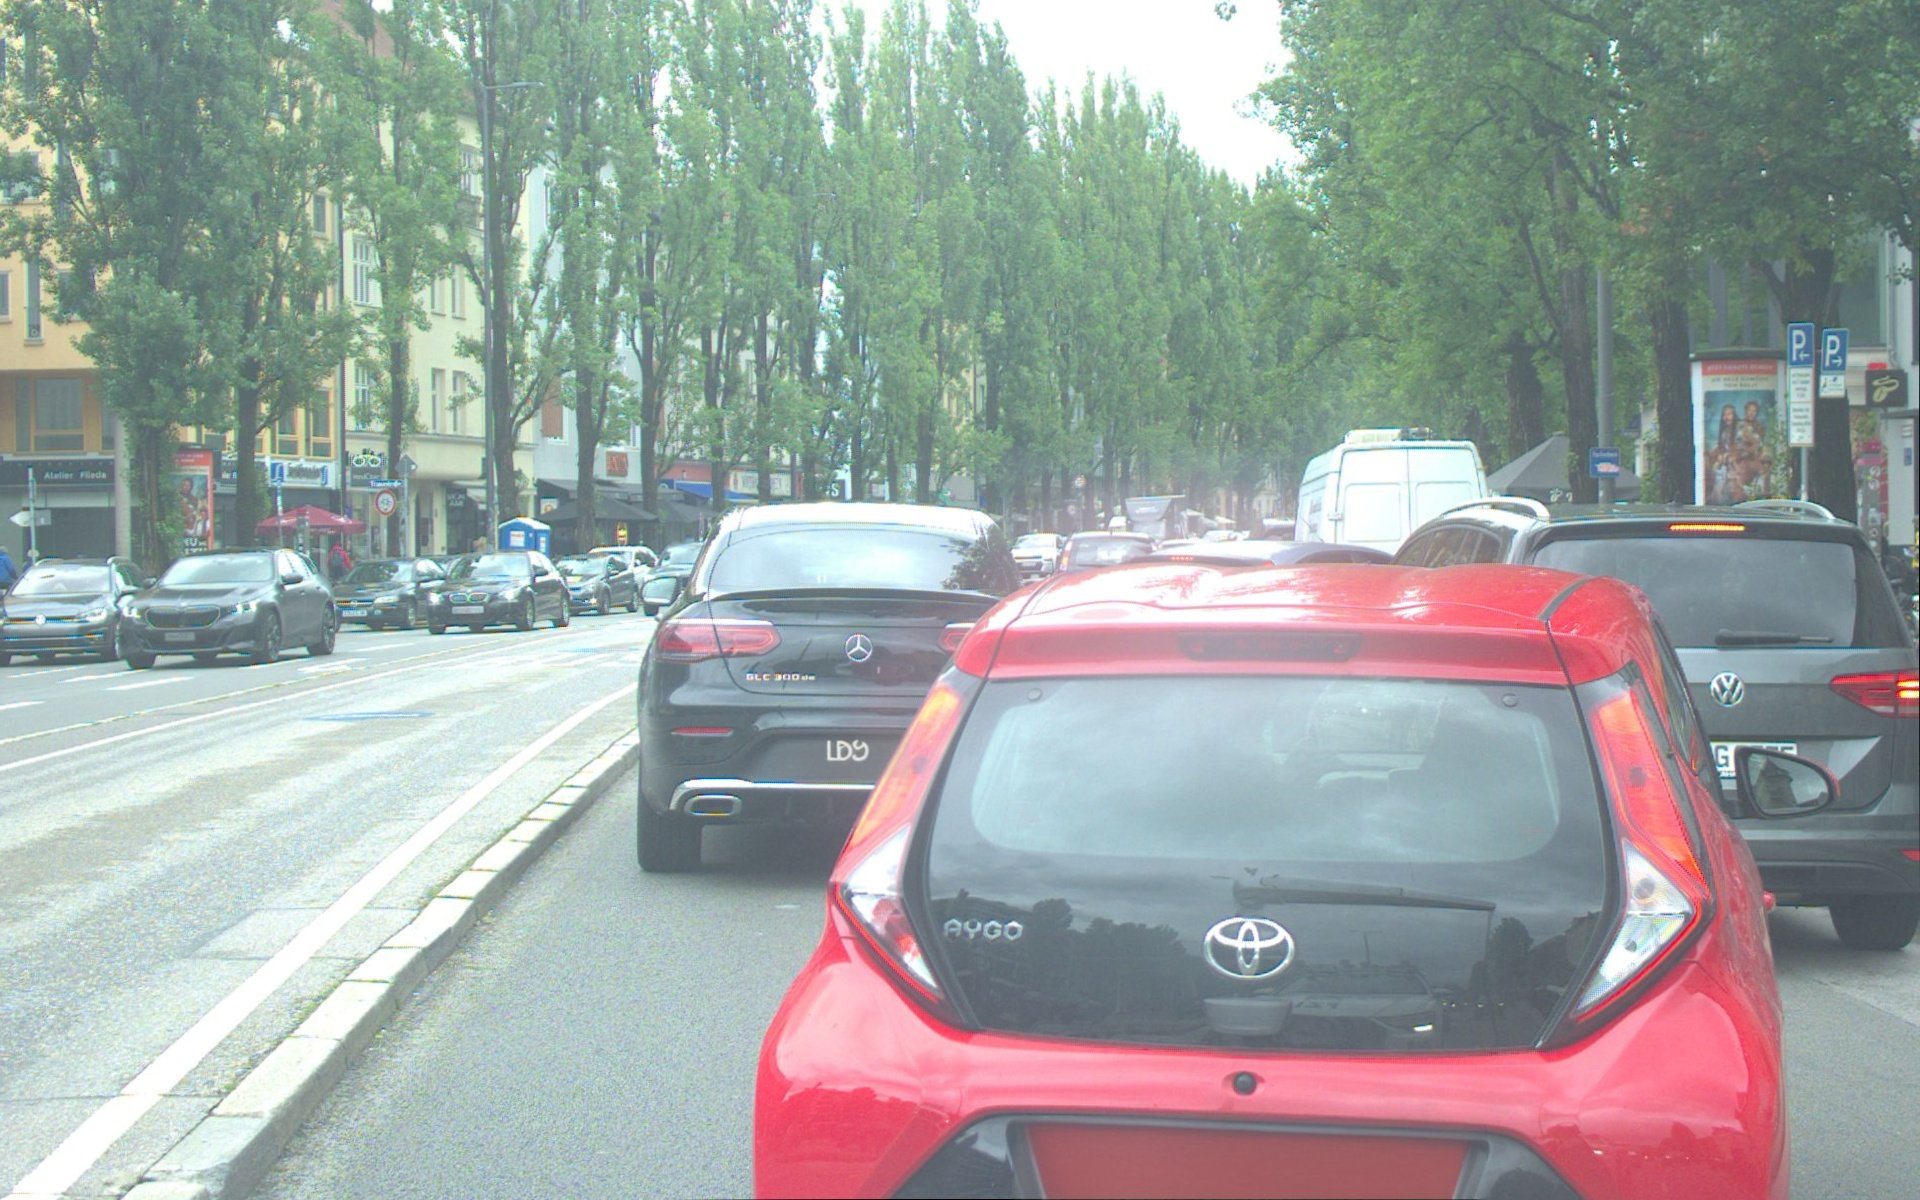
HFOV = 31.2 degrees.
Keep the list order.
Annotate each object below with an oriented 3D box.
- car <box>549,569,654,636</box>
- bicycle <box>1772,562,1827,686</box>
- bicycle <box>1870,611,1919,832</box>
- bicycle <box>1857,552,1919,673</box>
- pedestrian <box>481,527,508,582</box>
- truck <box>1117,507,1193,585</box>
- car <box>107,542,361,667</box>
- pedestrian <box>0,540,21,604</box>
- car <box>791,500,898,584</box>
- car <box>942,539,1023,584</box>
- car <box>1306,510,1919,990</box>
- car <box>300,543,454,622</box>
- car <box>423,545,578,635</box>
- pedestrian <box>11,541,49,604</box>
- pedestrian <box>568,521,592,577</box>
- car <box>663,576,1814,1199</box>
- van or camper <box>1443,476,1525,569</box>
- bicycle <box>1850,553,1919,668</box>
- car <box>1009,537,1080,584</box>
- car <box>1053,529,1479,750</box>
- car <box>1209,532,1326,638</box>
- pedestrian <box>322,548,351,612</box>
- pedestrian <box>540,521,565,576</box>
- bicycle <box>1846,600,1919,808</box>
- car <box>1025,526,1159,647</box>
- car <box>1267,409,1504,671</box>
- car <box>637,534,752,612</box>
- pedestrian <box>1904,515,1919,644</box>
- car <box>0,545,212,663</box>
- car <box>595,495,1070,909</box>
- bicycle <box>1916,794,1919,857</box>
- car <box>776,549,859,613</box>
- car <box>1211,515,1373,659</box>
[{"bbox_3d":[-8.475,0.032,81.601,1.784,1.461,4.000,-1,1,4],"label":"car"},{"bbox_3d":[8.243,0.217,33.731,0.478,1.156,1.824,0,1,15],"label":"bicycle"},{"bbox_3d":[5.358,0.641,16.474,1.800,1.050,0.545,5,3,37],"label":"bicycle"},{"bbox_3d":[9.324,0.111,33.955,0.477,1.156,1.633,0,1,-1],"label":"bicycle"},{"bbox_3d":[-14.539,-1.431,107.355,0.638,1.694,0.647,-1,1,11],"label":"pedestrian"},{"bbox_3d":[8.685,-2.411,152.523,2.292,3.311,7.154,-2,1,11],"label":"truck"},{"bbox_3d":[-9.520,0.015,45.506,1.994,1.502,5.021,-1,1,3],"label":"car"},{"bbox_3d":[-21.834,-0.643,78.408,0.632,1.430,0.778,-1,1,-2],"label":"pedestrian"},{"bbox_3d":[-3.678,-1.896,110.799,2.171,2.596,6.062,-1,1,10],"label":"car"},{"bbox_3d":[0.777,-1.297,114.424,1.800,1.389,4.688,-1,1,11],"label":"car"},{"bbox_3d":[2.520,0.465,13.634,1.761,1.608,4.184,0,1,-1],"label":"car"},{"bbox_3d":[-11.150,-0.364,66.053,1.729,1.404,4.687,-1,1,5],"label":"car"},{"bbox_3d":[-8.187,-0.207,61.643,1.836,1.482,4.734,-1,1,4],"label":"car"},{"bbox_3d":[-21.216,-0.635,78.442,0.632,1.430,0.778,-1,1,-2],"label":"pedestrian"},{"bbox_3d":[-12.871,-1.727,116.445,0.638,1.855,0.647,-1,1,11],"label":"pedestrian"},{"bbox_3d":[0.750,0.686,6.744,1.666,1.441,3.594,1,1,12],"label":"car"},{"bbox_3d":[18.154,-2.691,118.945,2.461,3.101,4.713,-1,1,12],"label":"van or camper"},{"bbox_3d":[9.968,0.103,35.204,1.629,1.156,0.705,0,1,12],"label":"bicycle"},{"bbox_3d":[3.081,-1.436,124.284,1.910,1.597,4.353,-1,1,10],"label":"car"},{"bbox_3d":[2.256,0.254,24.651,1.548,1.455,3.427,1,1,34],"label":"car"},{"bbox_3d":[5.077,-0.278,57.167,1.727,1.680,4.408,0,1,2],"label":"car"},{"bbox_3d":[-17.201,-0.563,94.807,0.539,1.741,0.755,0,1,11],"label":"pedestrian"},{"bbox_3d":[-13.799,-1.735,116.469,0.638,1.855,0.647,-1,1,11],"label":"pedestrian"},{"bbox_3d":[5.458,0.576,17.731,1.574,1.050,0.545,5,3,37],"label":"bicycle"},{"bbox_3d":[1.832,-0.197,48.596,1.759,1.614,3.747,1,0,0],"label":"car"},{"bbox_3d":[4.739,-0.656,39.027,1.993,2.732,5.555,1,0,0],"label":"car"},{"bbox_3d":[-5.882,-0.626,76.672,1.994,1.615,4.413,-2,1,3],"label":"car"},{"bbox_3d":[13.222,-0.287,46.323,0.721,1.718,0.738,-1,1,36],"label":"pedestrian"},{"bbox_3d":[-12.372,0.015,49.143,1.959,1.541,4.947,-1,1,4],"label":"car"},{"bbox_3d":[-0.538,0.364,16.107,1.880,1.636,4.583,-1,1,-1],"label":"car"},{"bbox_3d":[5.024,0.654,14.581,1.800,1.050,0.366,5,3,37],"label":"bicycle"},{"bbox_3d":[-3.738,-0.528,90.825,1.817,1.540,4.000,-3,1,2],"label":"car"},{"bbox_3d":[4.384,-0.213,45.993,1.929,1.799,4.779,1,1,3],"label":"car"}]
